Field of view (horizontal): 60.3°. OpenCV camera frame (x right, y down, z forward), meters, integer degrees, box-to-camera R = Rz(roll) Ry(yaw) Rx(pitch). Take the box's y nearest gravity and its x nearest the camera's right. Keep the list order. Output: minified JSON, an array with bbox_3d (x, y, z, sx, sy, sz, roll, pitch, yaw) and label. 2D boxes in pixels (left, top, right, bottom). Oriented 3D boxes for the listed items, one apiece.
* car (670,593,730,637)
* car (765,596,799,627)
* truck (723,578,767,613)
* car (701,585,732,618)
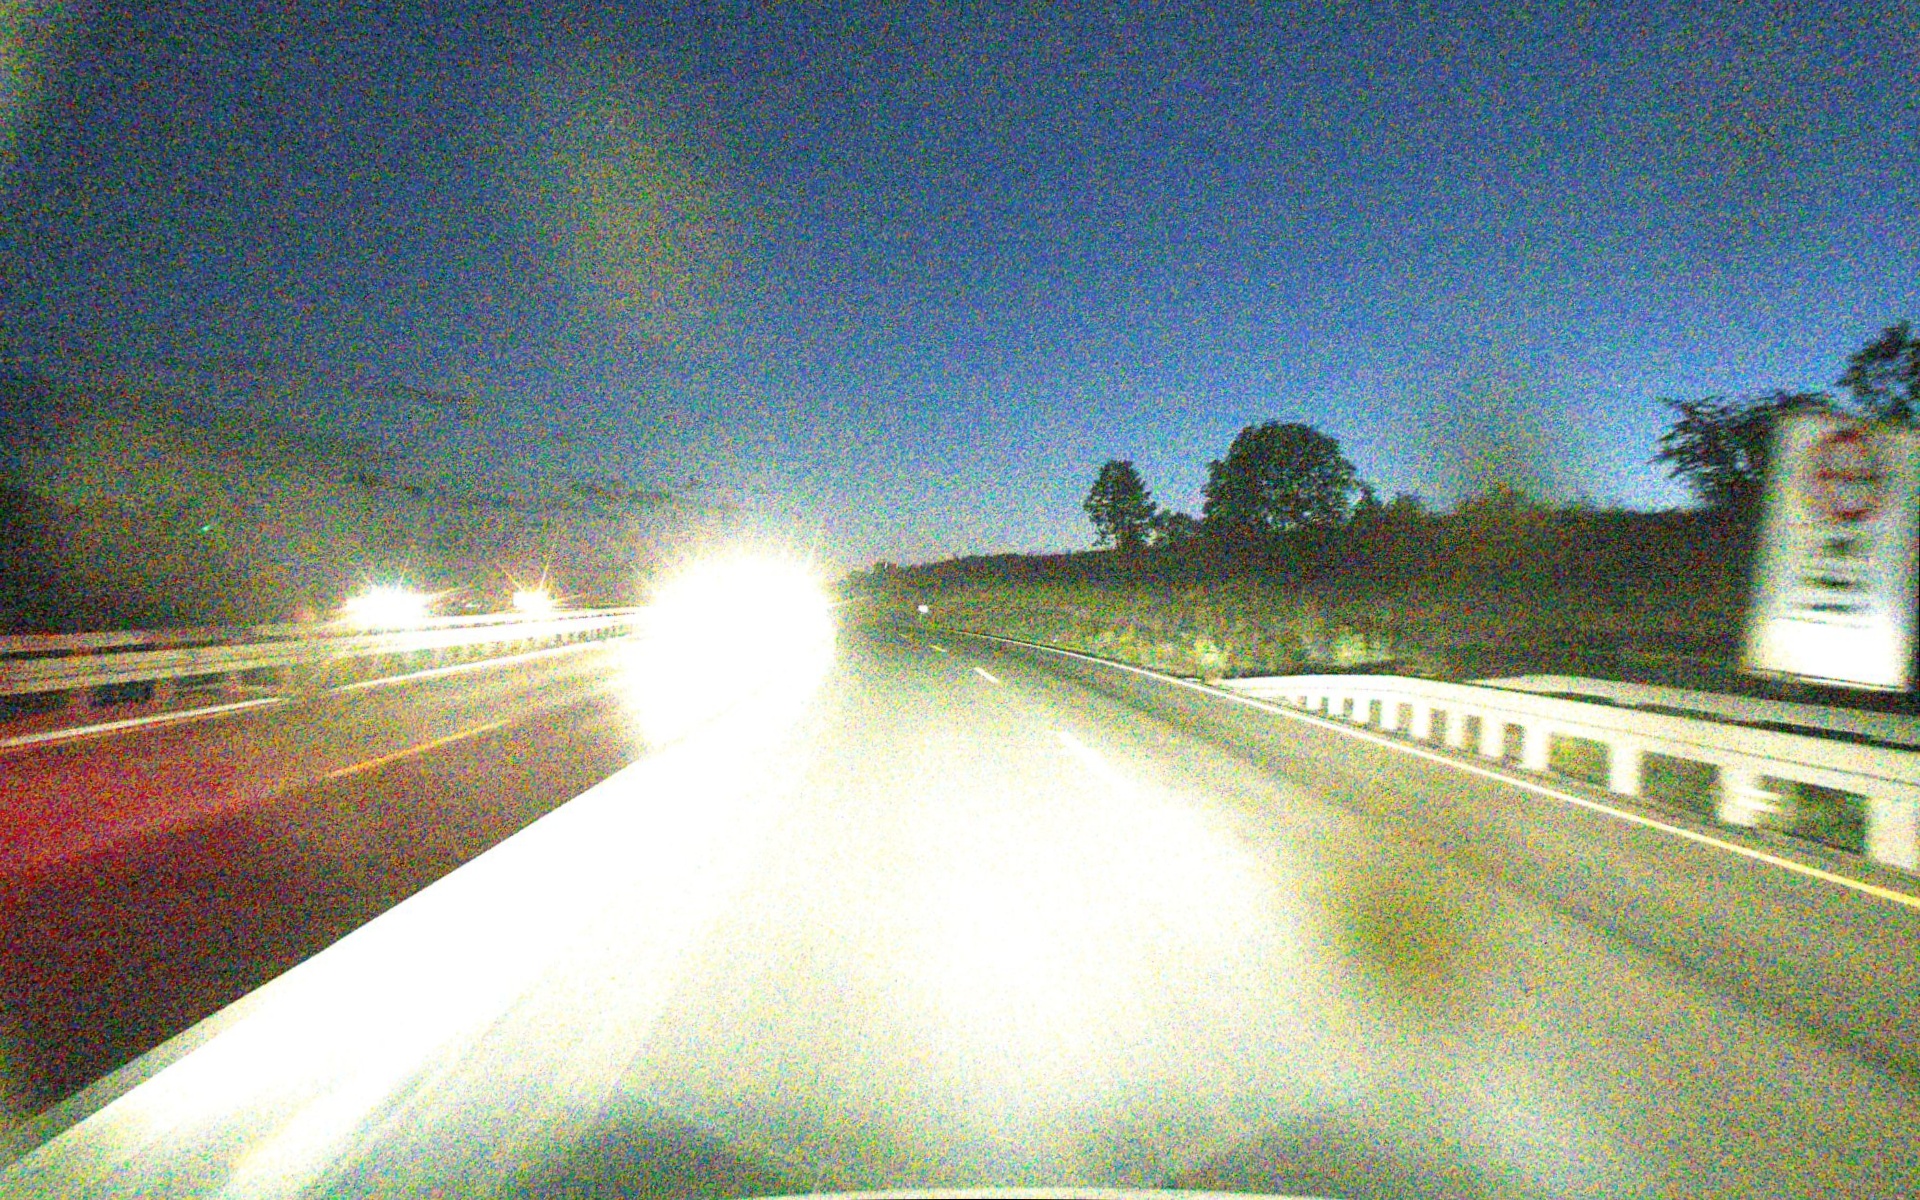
[{"bbox_3d":[-8.730,0.509,55.788,1.683,1.404,4.238,1,-1,-5],"label":"car"},{"bbox_3d":[-9.056,0.580,83.943,1.620,1.495,3.993,0,0,-7],"label":"car"},{"bbox_3d":[-29.079,-0.542,223.325,3.946,4.631,13.894,0,0,-16],"label":"truck"},{"bbox_3d":[-15.862,0.127,107.878,1.956,2.049,5.576,0,0,-8],"label":"car"}]
